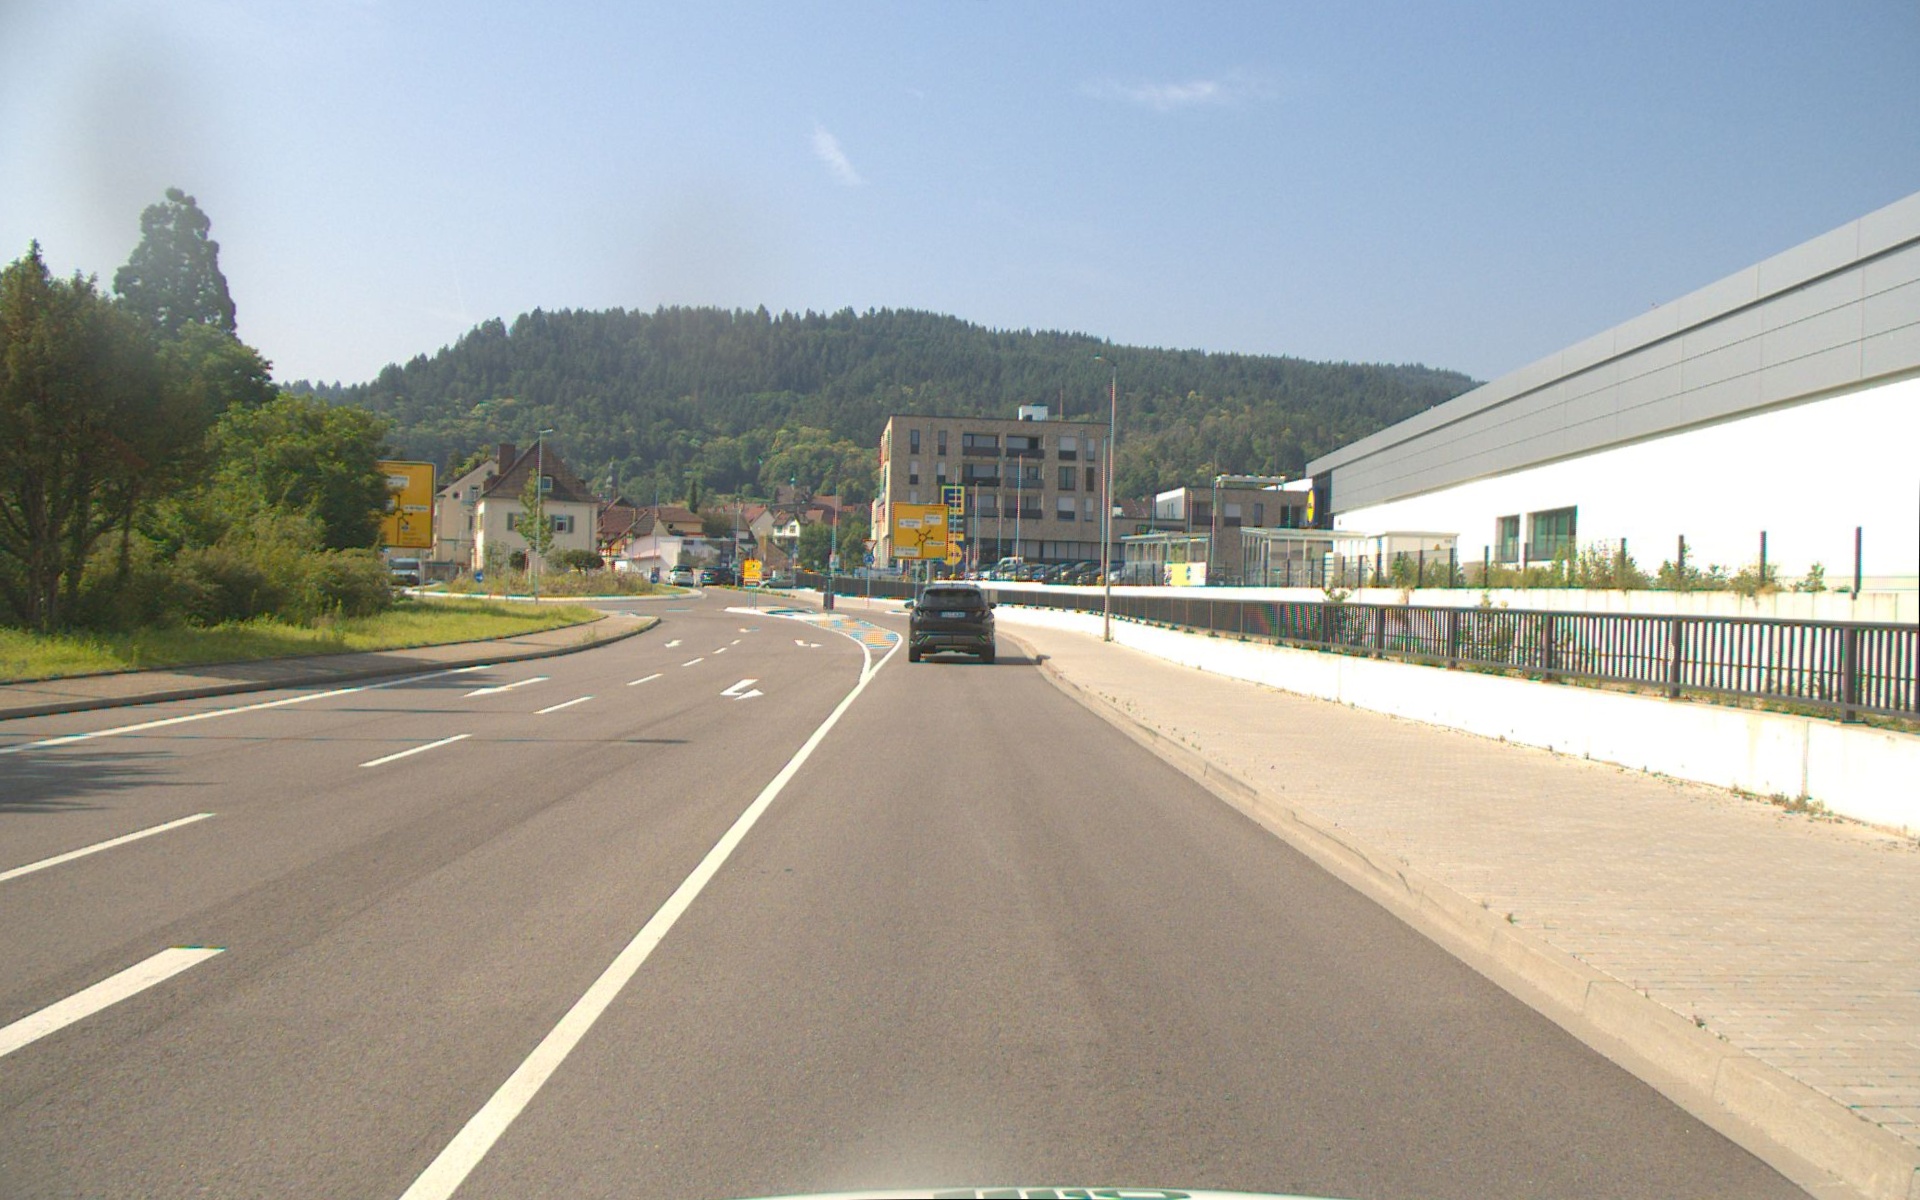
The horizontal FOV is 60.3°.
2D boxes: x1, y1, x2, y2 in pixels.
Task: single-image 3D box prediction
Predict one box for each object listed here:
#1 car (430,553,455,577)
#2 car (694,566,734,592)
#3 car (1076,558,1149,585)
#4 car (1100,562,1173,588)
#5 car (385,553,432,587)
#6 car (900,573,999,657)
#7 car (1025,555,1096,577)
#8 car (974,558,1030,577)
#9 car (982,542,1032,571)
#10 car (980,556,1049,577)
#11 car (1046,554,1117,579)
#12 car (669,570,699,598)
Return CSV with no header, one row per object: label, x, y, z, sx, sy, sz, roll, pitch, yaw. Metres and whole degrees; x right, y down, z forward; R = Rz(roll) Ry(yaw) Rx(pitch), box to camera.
car,-45.047,-3.043,144.018,1.784,2.048,3.975,0,2,-21
car,-19.785,-1.687,133.131,1.951,2.049,4.004,1,0,11
car,8.952,-1.676,97.167,4.001,1.428,1.478,1,1,-20
car,10.048,-1.430,94.173,3.749,1.388,1.671,1,1,-20
car,-38.499,-2.132,115.545,1.770,2.113,4.605,3,4,-2
car,-0.283,0.293,36.104,1.844,1.713,3.996,0,0,-5
car,6.328,-2.144,104.066,4.150,1.267,1.734,1,1,-20
car,2.926,-2.267,114.777,3.502,1.220,1.705,1,1,-19
car,3.692,-3.436,130.558,3.904,2.173,2.001,1,0,2
car,3.593,-2.222,108.547,4.214,1.267,1.655,1,1,-20
car,7.377,-2.021,100.649,3.945,1.428,1.715,1,1,-20
car,-20.395,-1.178,122.406,1.955,2.049,3.994,0,0,-7
